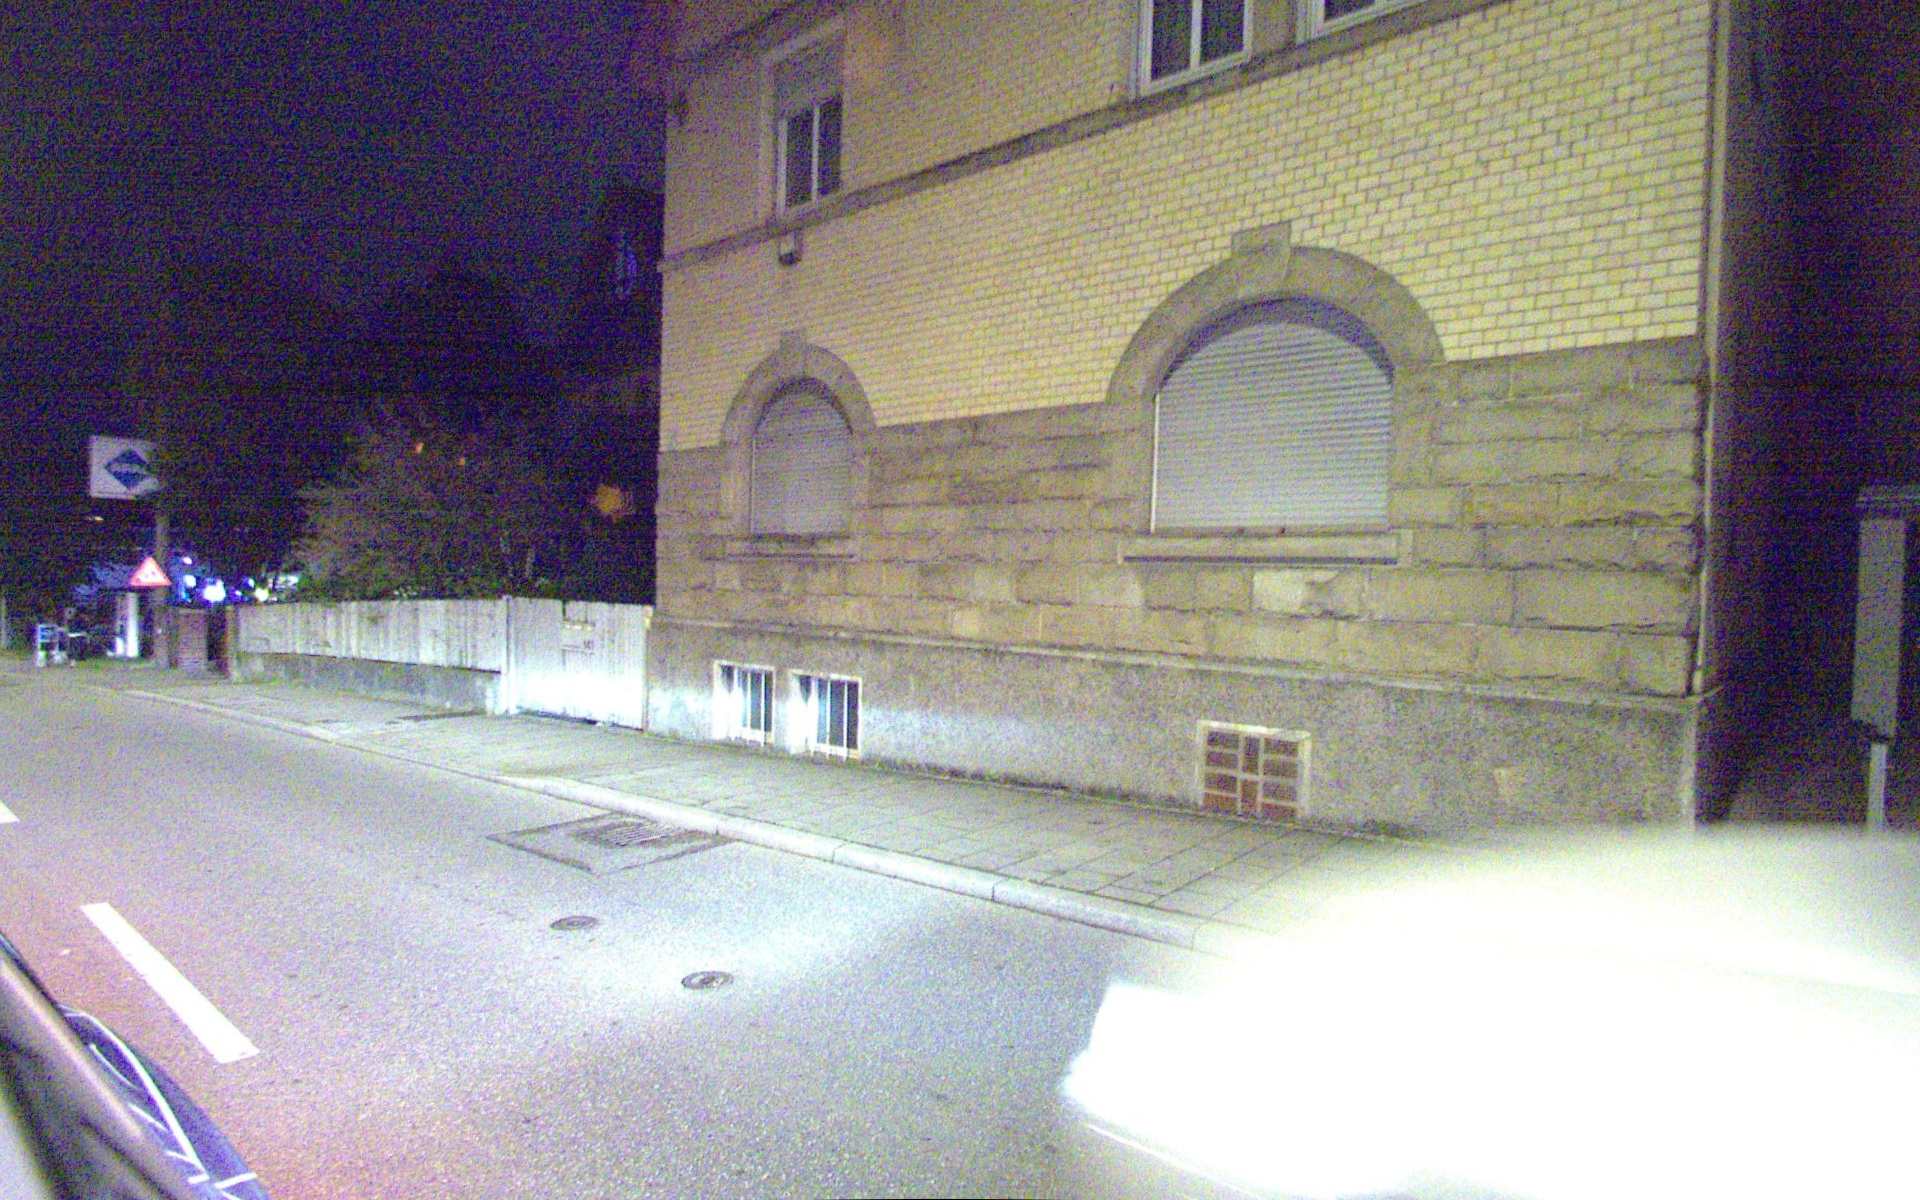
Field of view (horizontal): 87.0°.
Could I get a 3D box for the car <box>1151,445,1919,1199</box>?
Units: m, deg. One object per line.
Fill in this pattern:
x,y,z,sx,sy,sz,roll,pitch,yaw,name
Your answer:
2.372,0.613,0.703,4.026,1.546,1.838,-1,0,42,car

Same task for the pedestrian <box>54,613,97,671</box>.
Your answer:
-26.393,1.232,30.223,0.732,1.684,1.107,0,0,-28,pedestrian

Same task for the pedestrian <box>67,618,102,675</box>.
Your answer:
-27.323,1.435,31.577,0.865,1.739,0.662,-1,-1,38,pedestrian
